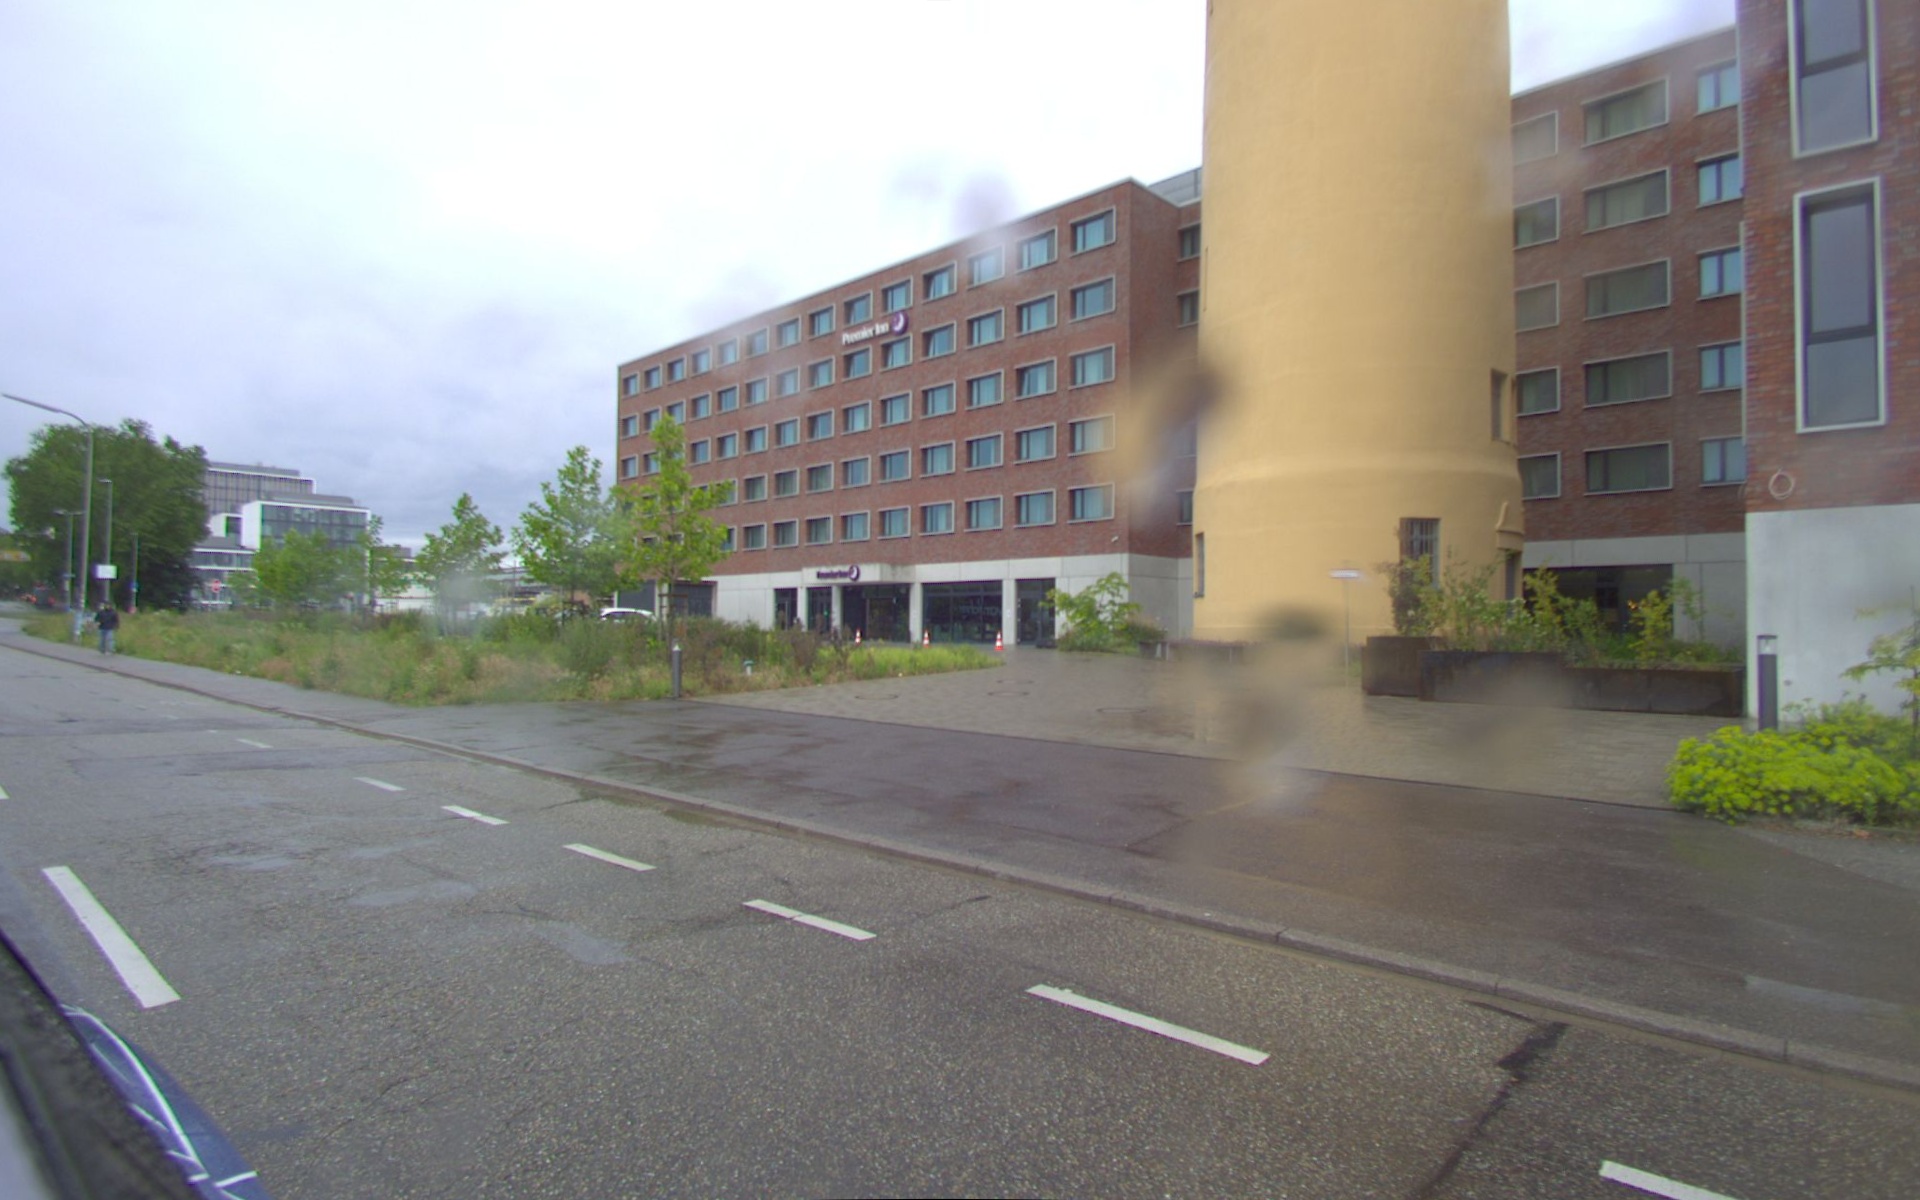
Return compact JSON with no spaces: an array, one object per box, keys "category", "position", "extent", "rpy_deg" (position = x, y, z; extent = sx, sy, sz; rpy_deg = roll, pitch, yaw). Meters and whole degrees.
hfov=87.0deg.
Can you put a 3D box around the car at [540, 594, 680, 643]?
[{"category":"car","position":[-12.798,0.697,37.196],"extent":[1.998,1.653,4.477],"rpy_deg":[1,-1,38]}]

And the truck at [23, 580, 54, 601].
[{"category":"truck","position":[-121.485,-1.243,133.374],"extent":[6.973,2.639,2.063],"rpy_deg":[1,-2,40]}]

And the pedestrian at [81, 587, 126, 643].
[{"category":"pedestrian","position":[-27.075,0.460,32.003],"extent":[1.026,1.731,0.899],"rpy_deg":[1,-1,42]}]
